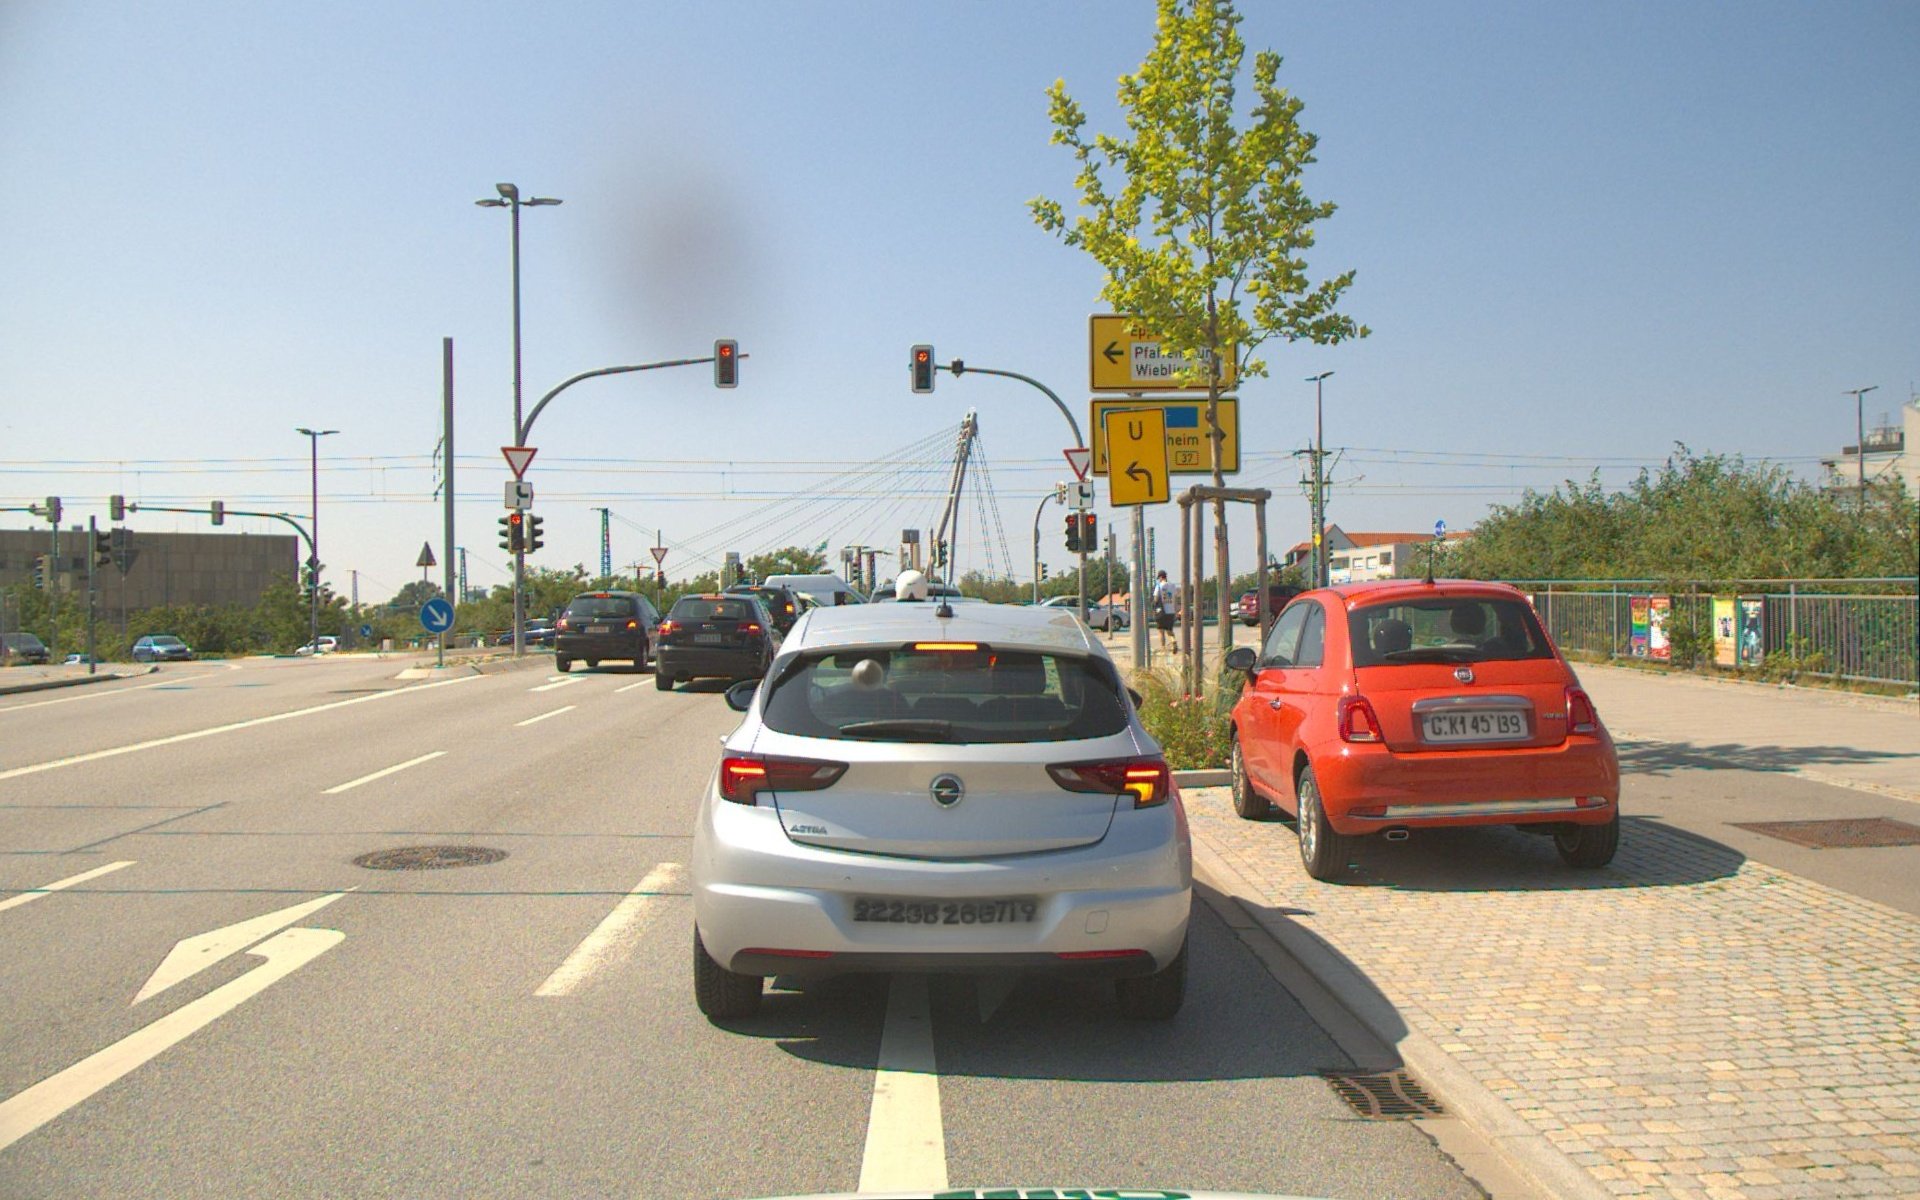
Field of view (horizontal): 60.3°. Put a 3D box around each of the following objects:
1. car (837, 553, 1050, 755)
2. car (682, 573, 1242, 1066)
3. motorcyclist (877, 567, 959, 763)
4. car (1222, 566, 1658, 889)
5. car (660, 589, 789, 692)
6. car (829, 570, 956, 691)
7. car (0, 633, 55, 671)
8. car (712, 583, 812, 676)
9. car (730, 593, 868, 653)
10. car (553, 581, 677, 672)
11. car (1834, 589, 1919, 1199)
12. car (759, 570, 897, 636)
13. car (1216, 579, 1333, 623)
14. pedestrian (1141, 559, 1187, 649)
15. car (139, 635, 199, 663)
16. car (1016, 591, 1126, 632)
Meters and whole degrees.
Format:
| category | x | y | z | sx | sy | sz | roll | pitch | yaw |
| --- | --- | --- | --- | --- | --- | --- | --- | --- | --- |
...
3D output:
| category | x | y | z | sx | sy | sz | roll | pitch | yaw |
| --- | --- | --- | --- | --- | --- | --- | --- | --- | --- |
| car | -0.183 | 0.474 | 17.584 | 1.953 | 1.852 | 4.401 | 1 | 1 | -1 |
| car | -0.095 | 0.690 | 7.105 | 1.708 | 1.503 | 3.997 | 1 | 0 | -3 |
| motorcyclist | -0.312 | 0.471 | 12.369 | 0.570 | 1.413 | 0.706 | 1 | -1 | -1 |
| car | 2.620 | 0.614 | 9.788 | 1.577 | 1.522 | 3.352 | -2 | 0 | 0 |
| car | -3.580 | 0.589 | 25.656 | 1.543 | 1.459 | 3.785 | 1 | 0 | -2 |
| car | -0.925 | 0.381 | 24.220 | 1.689 | 1.591 | 4.000 | 1 | 1 | -1 |
| car | -41.233 | 2.280 | 73.054 | 1.662 | 1.502 | 3.358 | -1 | 1 | -39 |
| car | -3.716 | 0.532 | 31.528 | 1.616 | 1.643 | 3.818 | 1 | 0 | -3 |
| car | -5.791 | 0.815 | 59.871 | 4.602 | 2.049 | 2.001 | 1 | 0 | 6 |
| car | -6.389 | 0.477 | 30.989 | 1.565 | 1.574 | 3.761 | 1 | 0 | -1 |
| car | 2.931 | 0.669 | 1.921 | 1.626 | 1.451 | 3.999 | -2 | 0 | -1 |
| car | -4.978 | 0.109 | 62.493 | 4.893 | 2.418 | 1.785 | 0 | -1 | 10 |
| car | 12.293 | 0.046 | 64.735 | 4.202 | 1.660 | 1.749 | 0 | -1 | -14 |
| pedestrian | 4.269 | 0.087 | 34.598 | 0.637 | 1.868 | 0.794 | -1 | -1 | 38 |
| car | -39.883 | 2.468 | 83.400 | 1.806 | 1.354 | 3.941 | 1 | -2 | -40 |
| car | 4.257 | 0.445 | 63.827 | 3.911 | 1.508 | 1.997 | 1 | 0 | -7 |
